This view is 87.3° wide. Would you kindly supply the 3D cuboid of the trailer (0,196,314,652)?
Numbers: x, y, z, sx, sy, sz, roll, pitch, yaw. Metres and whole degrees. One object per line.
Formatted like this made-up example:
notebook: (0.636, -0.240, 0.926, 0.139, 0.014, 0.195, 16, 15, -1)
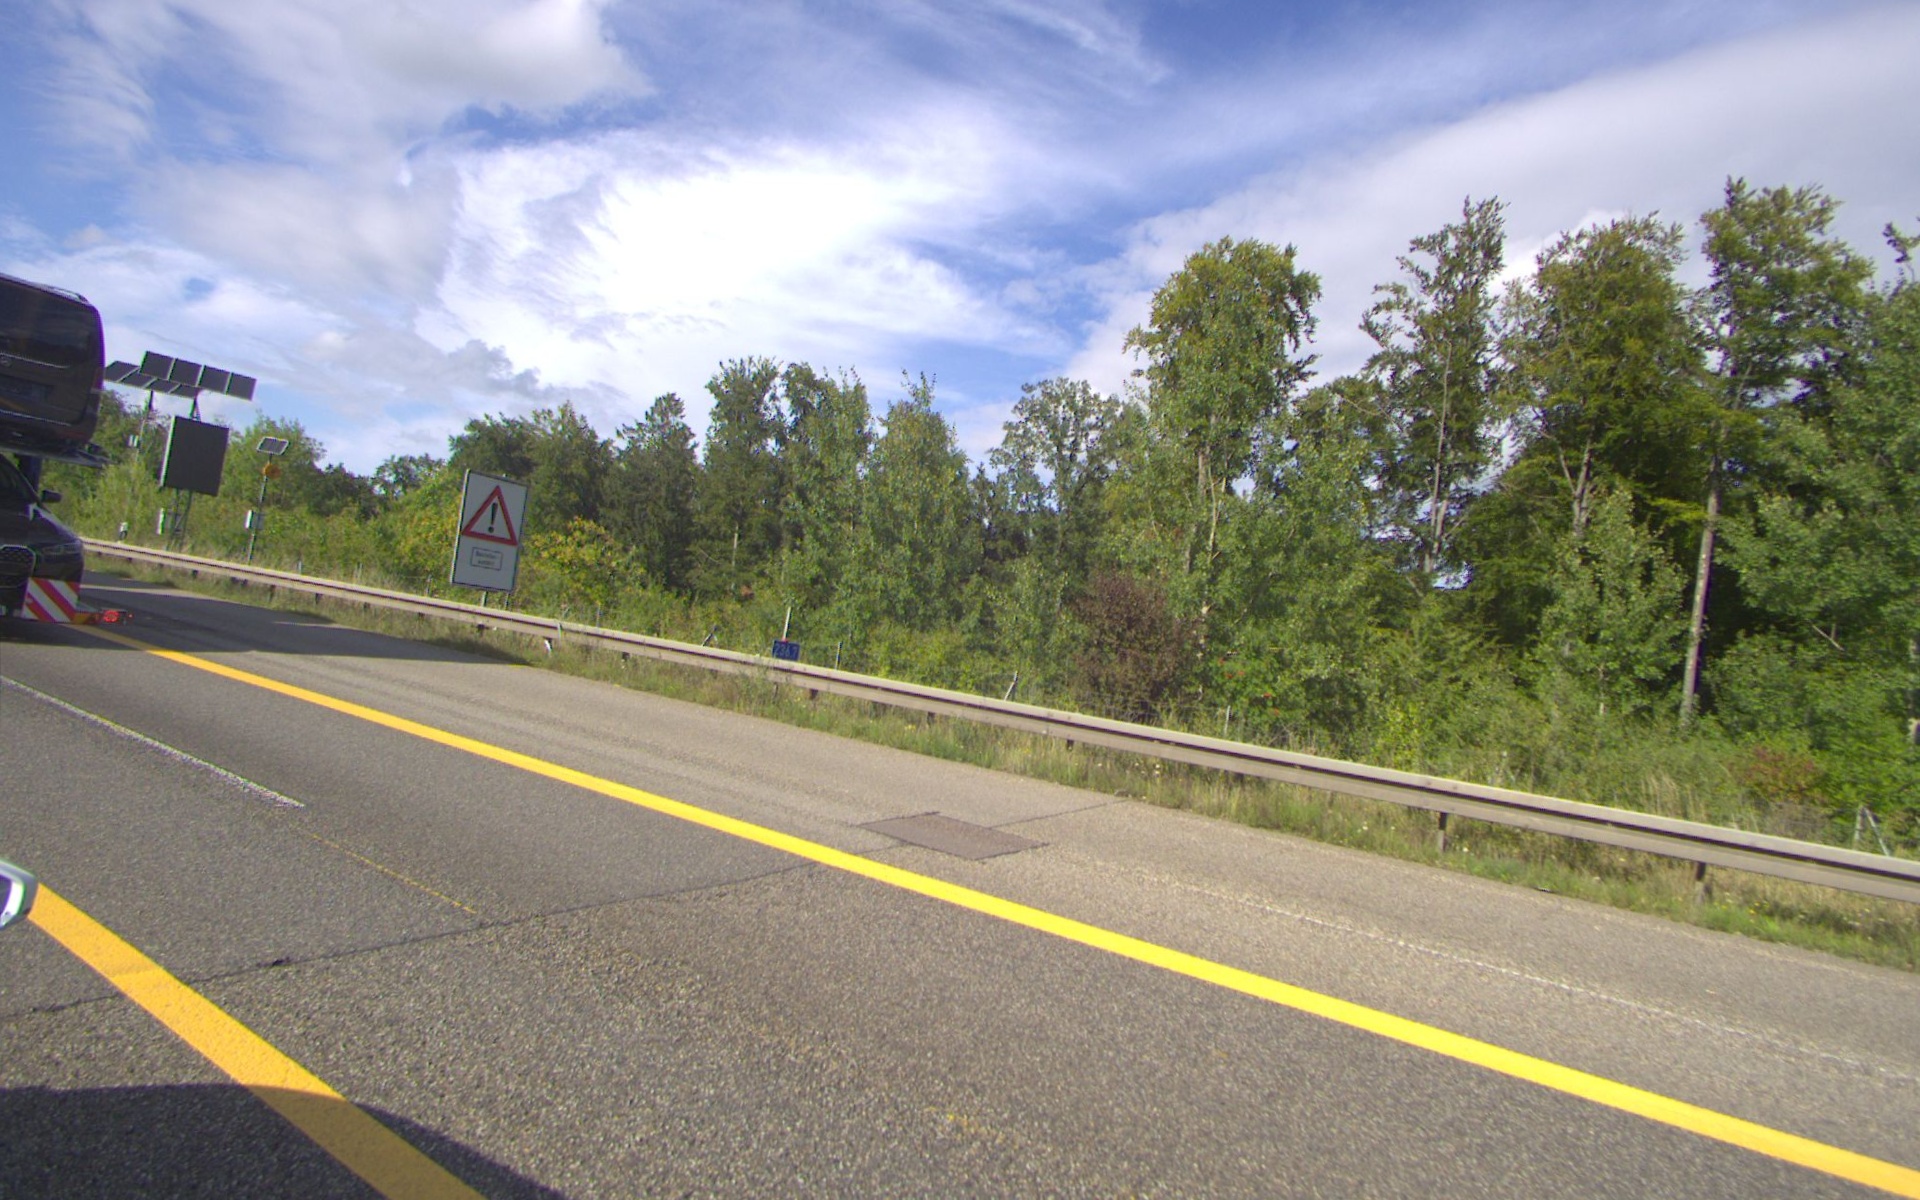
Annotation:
trailer: (-15.716, -2.430, 14.698, 15.959, 4.245, 3.733, 6, -2, 32)
